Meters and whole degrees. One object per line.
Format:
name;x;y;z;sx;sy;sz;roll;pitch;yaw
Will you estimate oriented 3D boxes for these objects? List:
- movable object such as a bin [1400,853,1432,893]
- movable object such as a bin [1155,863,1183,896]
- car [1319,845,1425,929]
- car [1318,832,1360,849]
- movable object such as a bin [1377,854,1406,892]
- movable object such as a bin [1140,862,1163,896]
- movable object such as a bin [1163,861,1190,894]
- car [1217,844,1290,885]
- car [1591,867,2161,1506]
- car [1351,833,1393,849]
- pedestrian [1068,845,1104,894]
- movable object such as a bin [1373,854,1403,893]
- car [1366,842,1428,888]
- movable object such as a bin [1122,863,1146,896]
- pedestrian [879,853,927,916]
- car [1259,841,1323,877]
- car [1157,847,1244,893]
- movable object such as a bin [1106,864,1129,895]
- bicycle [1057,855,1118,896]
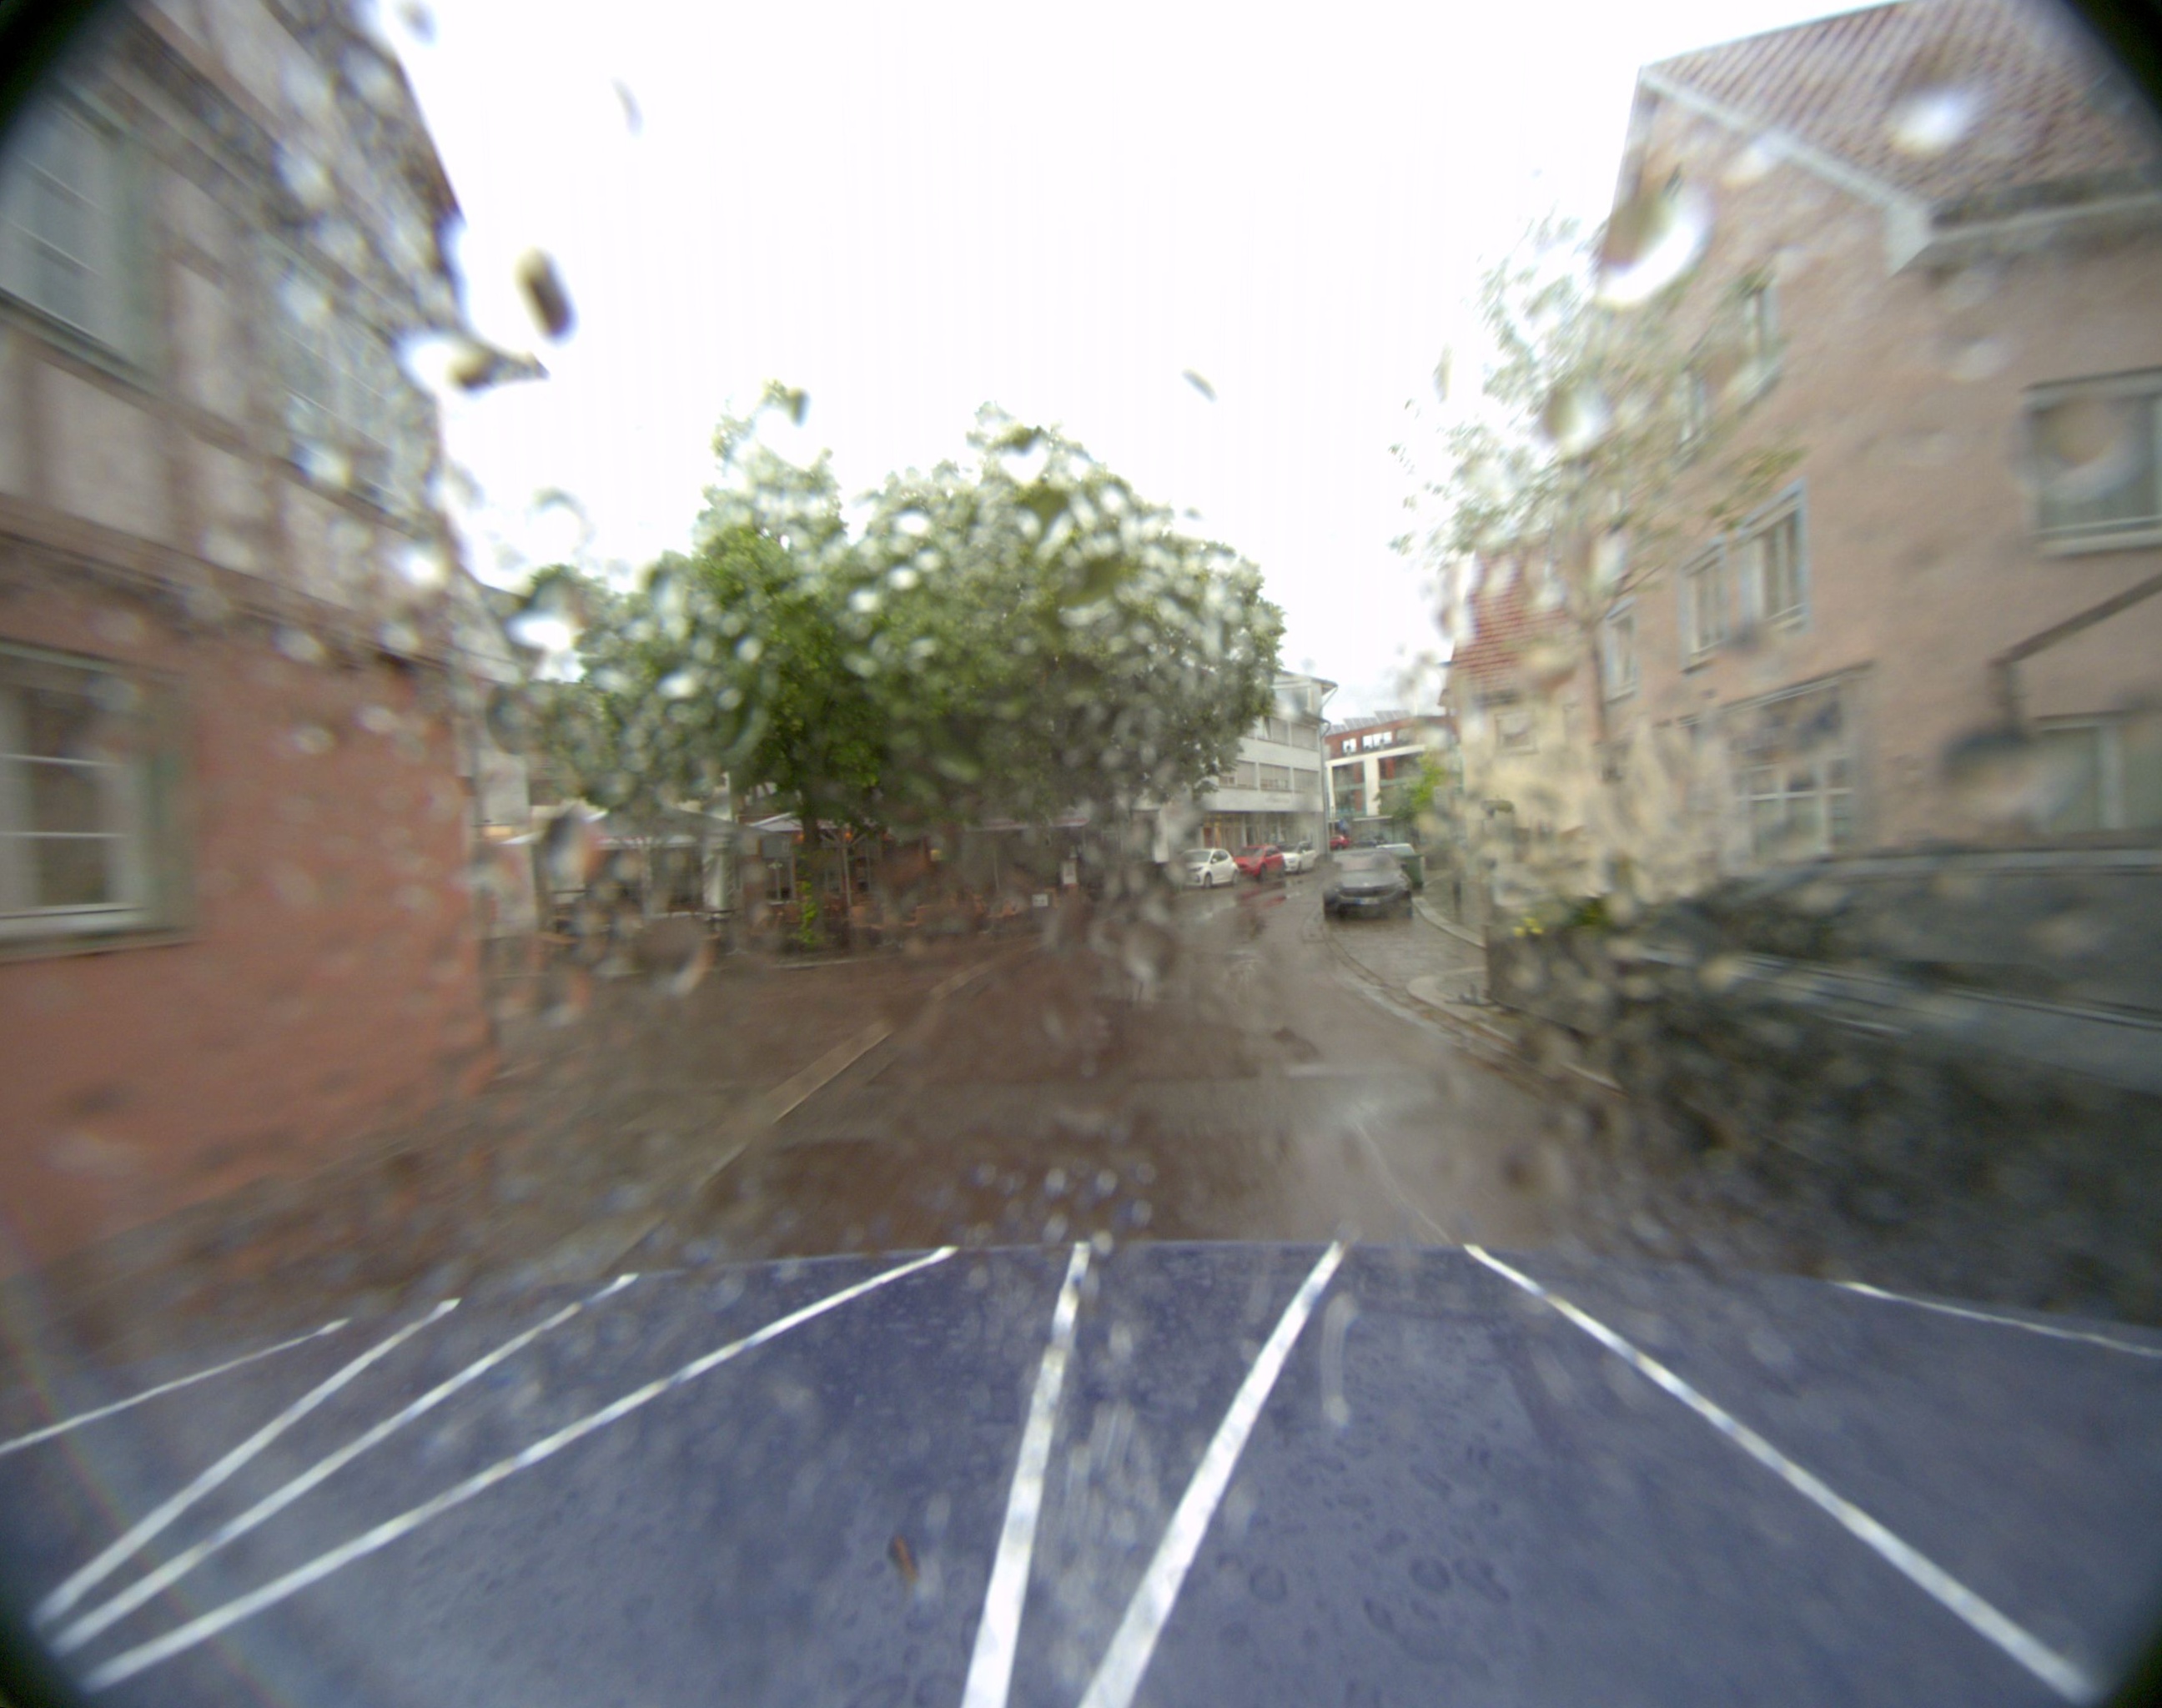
movable object such as a bin;10.238;0.577;23.198;0.700;1.115;0.720;-6;1;31
movable object such as a bin;3.045;0.869;26.215;0.726;1.077;0.605;-3;2;24
car;6.437;0.649;17.102;1.878;1.531;4.405;-4;0;19
car;26.427;-1.329;77.932;1.805;1.546;3.914;-5;2;-23
movable object such as a bin;9.918;0.605;24.261;0.682;1.129;0.720;-3;1;32
movable object such as a bin;2.476;0.870;26.715;0.538;1.136;0.729;-1;1;30
movable object such as a bin;3.360;0.828;26.817;0.726;1.087;0.611;-3;2;24
car;7.773;0.426;33.962;1.789;1.460;3.955;-3;2;34
car;3.578;0.824;1.394;1.867;1.433;4.617;-4;0;-4
car;28.065;-1.241;73.426;1.681;1.427;3.578;-5;2;-23
pedestrian;0.186;0.560;27.607;0.910;1.689;0.863;0;4;43
movable object such as a bin;9.523;0.603;23.577;0.700;1.137;0.720;-3;0;31
car;11.486;0.366;27.503;1.851;1.443;4.079;-3;-1;24
movable object such as a bin;1.889;0.892;27.060;0.538;1.124;0.729;-1;1;30
pedestrian;-5.183;0.878;22.112;0.885;1.704;0.891;-2;3;44
car;10.743;0.220;38.679;1.789;1.590;4.448;-3;0;33
car;4.700;0.571;29.420;1.788;1.547;3.956;-2;1;33
movable object such as a bin;1.334;0.927;27.432;0.538;1.077;0.729;0;1;30
bicycle;0.243;0.765;27.671;0.925;1.343;2.220;0;3;43
